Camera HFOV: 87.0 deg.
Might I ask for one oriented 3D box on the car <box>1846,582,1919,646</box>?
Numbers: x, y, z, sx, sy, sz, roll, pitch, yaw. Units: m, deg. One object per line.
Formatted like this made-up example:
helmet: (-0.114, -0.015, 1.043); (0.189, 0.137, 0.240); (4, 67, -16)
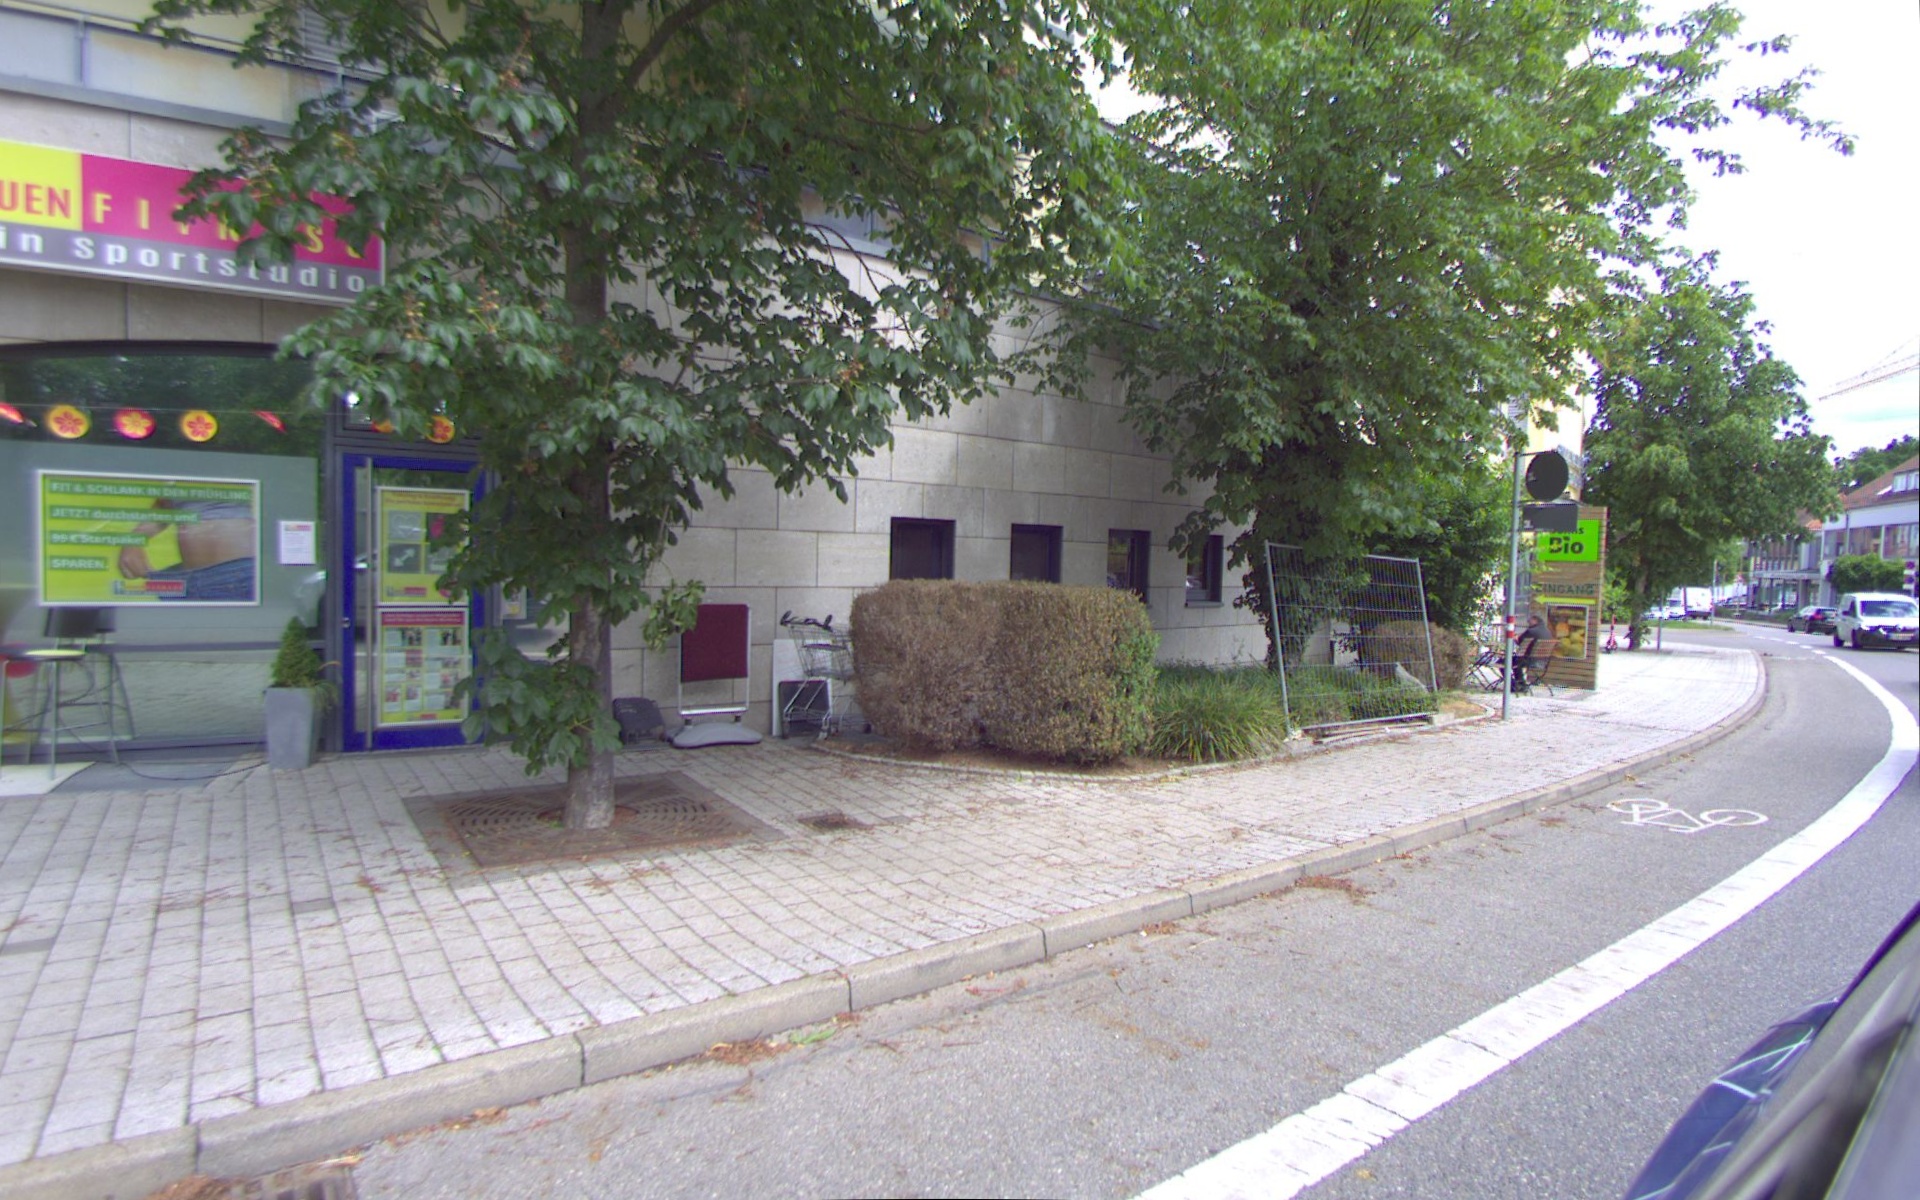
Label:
car: (29.768, 0.390, 32.293); (1.956, 1.829, 4.370); (1, 2, 38)

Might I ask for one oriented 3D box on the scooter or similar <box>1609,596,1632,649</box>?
scooter or similar: (17.460, 0.578, 26.754); (0.380, 1.332, 1.439); (2, 2, 38)

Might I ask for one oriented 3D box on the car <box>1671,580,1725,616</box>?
car: (55.156, -0.172, 75.735); (2.049, 2.382, 5.139); (5, 3, 24)

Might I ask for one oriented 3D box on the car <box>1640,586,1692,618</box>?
car: (40.587, 0.083, 58.260); (1.679, 1.687, 4.421); (3, 1, 26)

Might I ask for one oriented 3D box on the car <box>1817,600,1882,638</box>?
car: (42.444, 0.878, 48.371); (1.682, 1.499, 4.175); (7, 4, 34)

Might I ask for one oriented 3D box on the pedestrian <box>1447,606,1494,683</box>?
pedestrian: (8.540, 0.726, 16.919); (0.576, 1.218, 0.495); (2, 2, 42)

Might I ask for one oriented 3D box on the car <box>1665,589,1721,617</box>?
car: (47.899, 0.204, 66.095); (4.383, 1.687, 1.941); (1, 1, -41)

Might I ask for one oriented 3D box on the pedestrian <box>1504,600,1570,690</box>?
pedestrian: (9.023, 0.687, 15.839); (0.567, 1.333, 0.691); (-1, 2, -32)
